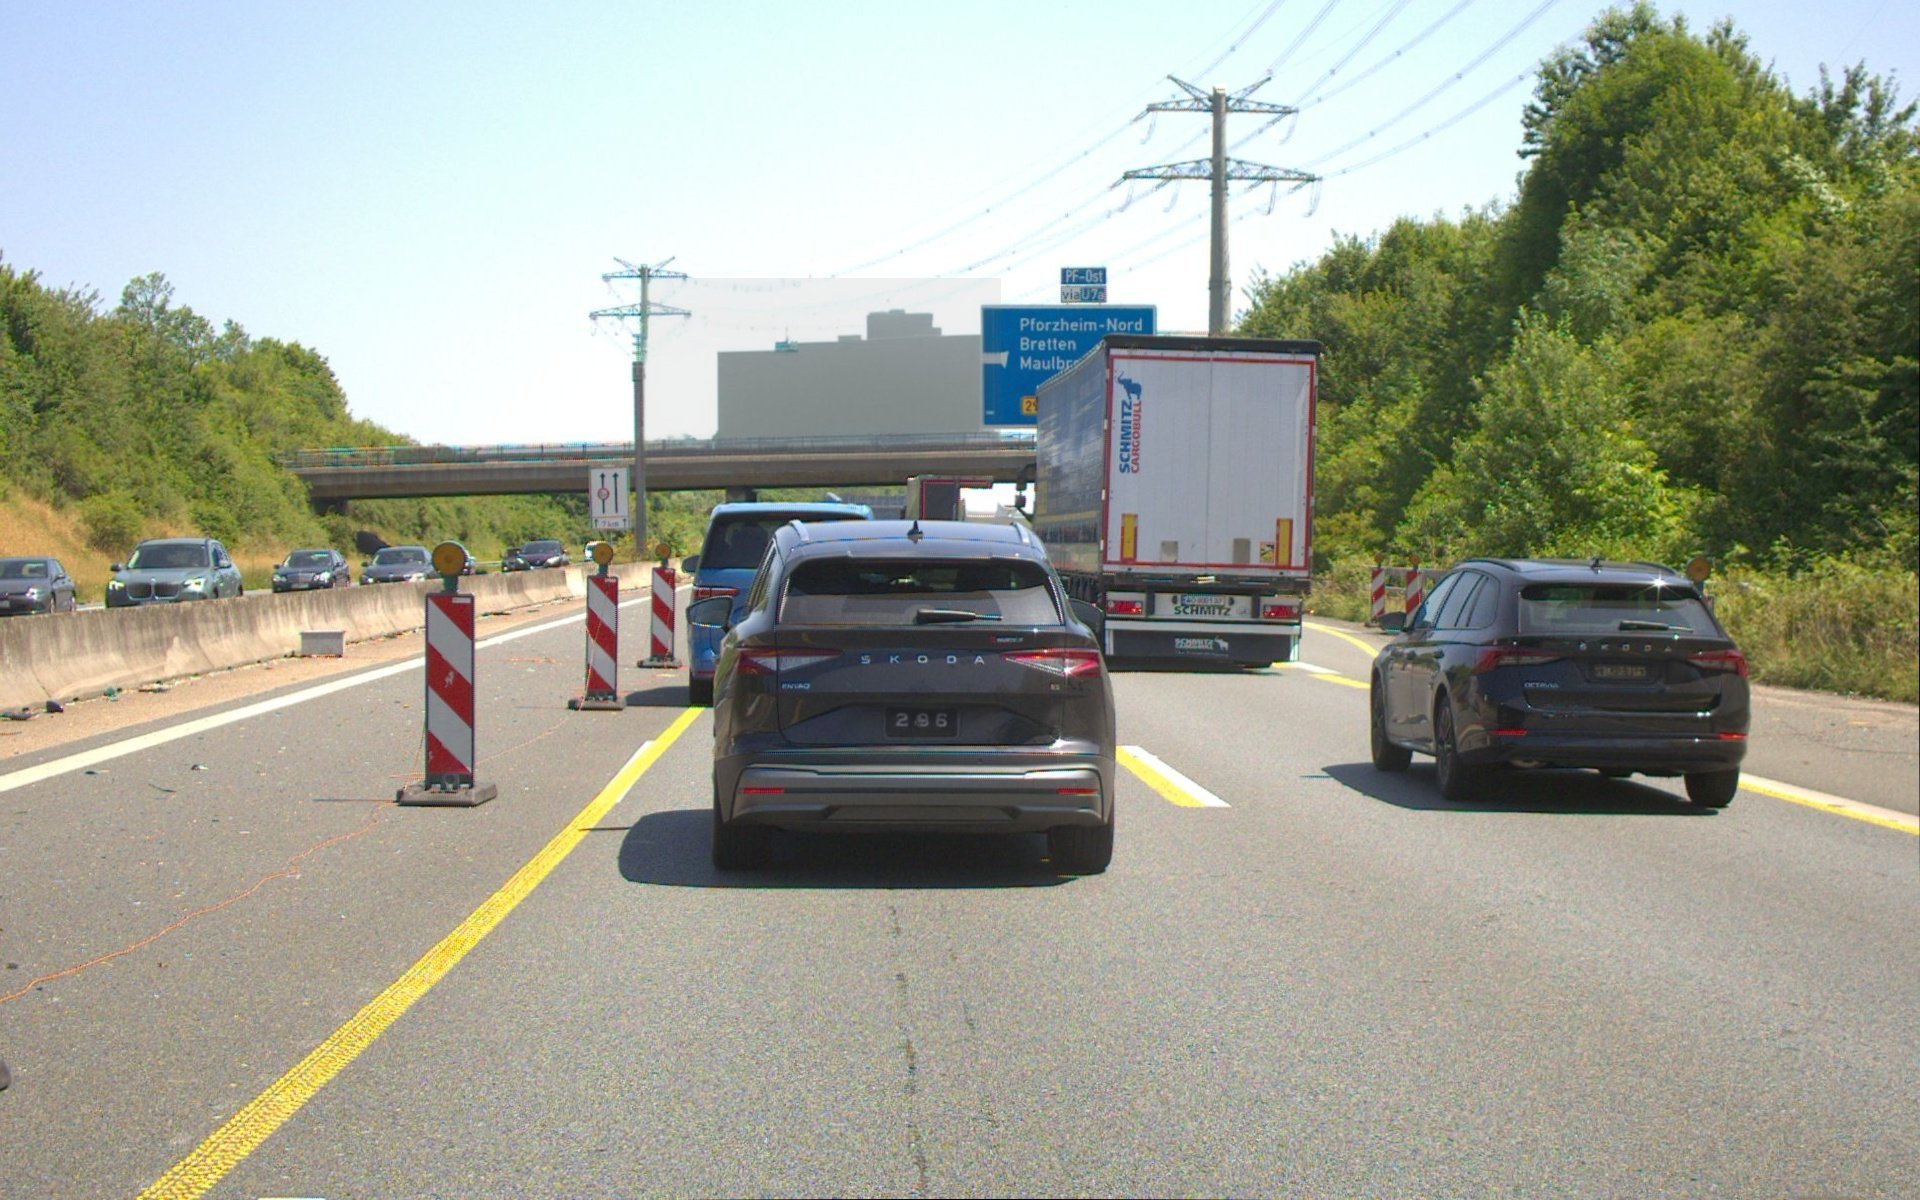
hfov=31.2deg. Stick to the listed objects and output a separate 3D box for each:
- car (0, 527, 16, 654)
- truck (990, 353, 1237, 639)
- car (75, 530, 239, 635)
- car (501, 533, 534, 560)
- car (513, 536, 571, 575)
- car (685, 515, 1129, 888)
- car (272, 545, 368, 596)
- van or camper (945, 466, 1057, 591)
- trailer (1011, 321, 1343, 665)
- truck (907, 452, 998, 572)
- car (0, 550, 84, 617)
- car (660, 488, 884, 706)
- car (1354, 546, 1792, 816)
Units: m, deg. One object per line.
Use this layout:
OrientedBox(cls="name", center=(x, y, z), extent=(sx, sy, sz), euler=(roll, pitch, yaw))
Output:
OrientedBox(cls="car", center=(-12.041, -0.069, 38.352), extent=(1.762, 1.466, 4.634), euler=(-1, 1, 0))
OrientedBox(cls="truck", center=(2.247, -1.579, 53.379), extent=(3.024, 4.073, 7.796), euler=(1, 1, -3))
OrientedBox(cls="car", center=(-13.683, -0.328, 58.826), extent=(1.842, 1.709, 4.396), euler=(-1, 1, -1))
OrientedBox(cls="car", center=(-26.136, -3.153, 203.158), extent=(1.499, 1.543, 4.000), euler=(0, 1, -1))
OrientedBox(cls="car", center=(-16.057, -1.711, 132.129), extent=(1.848, 1.455, 4.489), euler=(-1, 1, -2))
OrientedBox(cls="car", center=(-0.331, 0.377, 16.888), extent=(1.895, 1.586, 4.443), euler=(0, 1, -3))
OrientedBox(cls="car", center=(-18.986, -0.886, 102.137), extent=(1.993, 1.455, 4.587), euler=(-1, 1, 0))
OrientedBox(cls="van or camper", center=(1.009, -1.853, 88.954), extent=(2.586, 2.958, 6.085), euler=(4, 1, -1))
OrientedBox(cls="trailer", center=(2.647, -1.378, 46.386), extent=(3.065, 4.028, 11.489), euler=(1, 1, -3))
OrientedBox(cls="truck", center=(-0.334, -3.185, 126.774), extent=(3.077, 4.132, 13.055), euler=(2, 1, -1))
OrientedBox(cls="car", center=(-20.443, -0.378, 75.708), extent=(1.503, 1.392, 4.090), euler=(-1, 1, -4))
OrientedBox(cls="car", center=(-1.811, -0.054, 33.065), extent=(1.895, 1.835, 4.443), euler=(4, 1, -3))
OrientedBox(cls="car", center=(3.742, 0.429, 21.780), extent=(1.779, 1.484, 4.464), euler=(2, 1, -2))
